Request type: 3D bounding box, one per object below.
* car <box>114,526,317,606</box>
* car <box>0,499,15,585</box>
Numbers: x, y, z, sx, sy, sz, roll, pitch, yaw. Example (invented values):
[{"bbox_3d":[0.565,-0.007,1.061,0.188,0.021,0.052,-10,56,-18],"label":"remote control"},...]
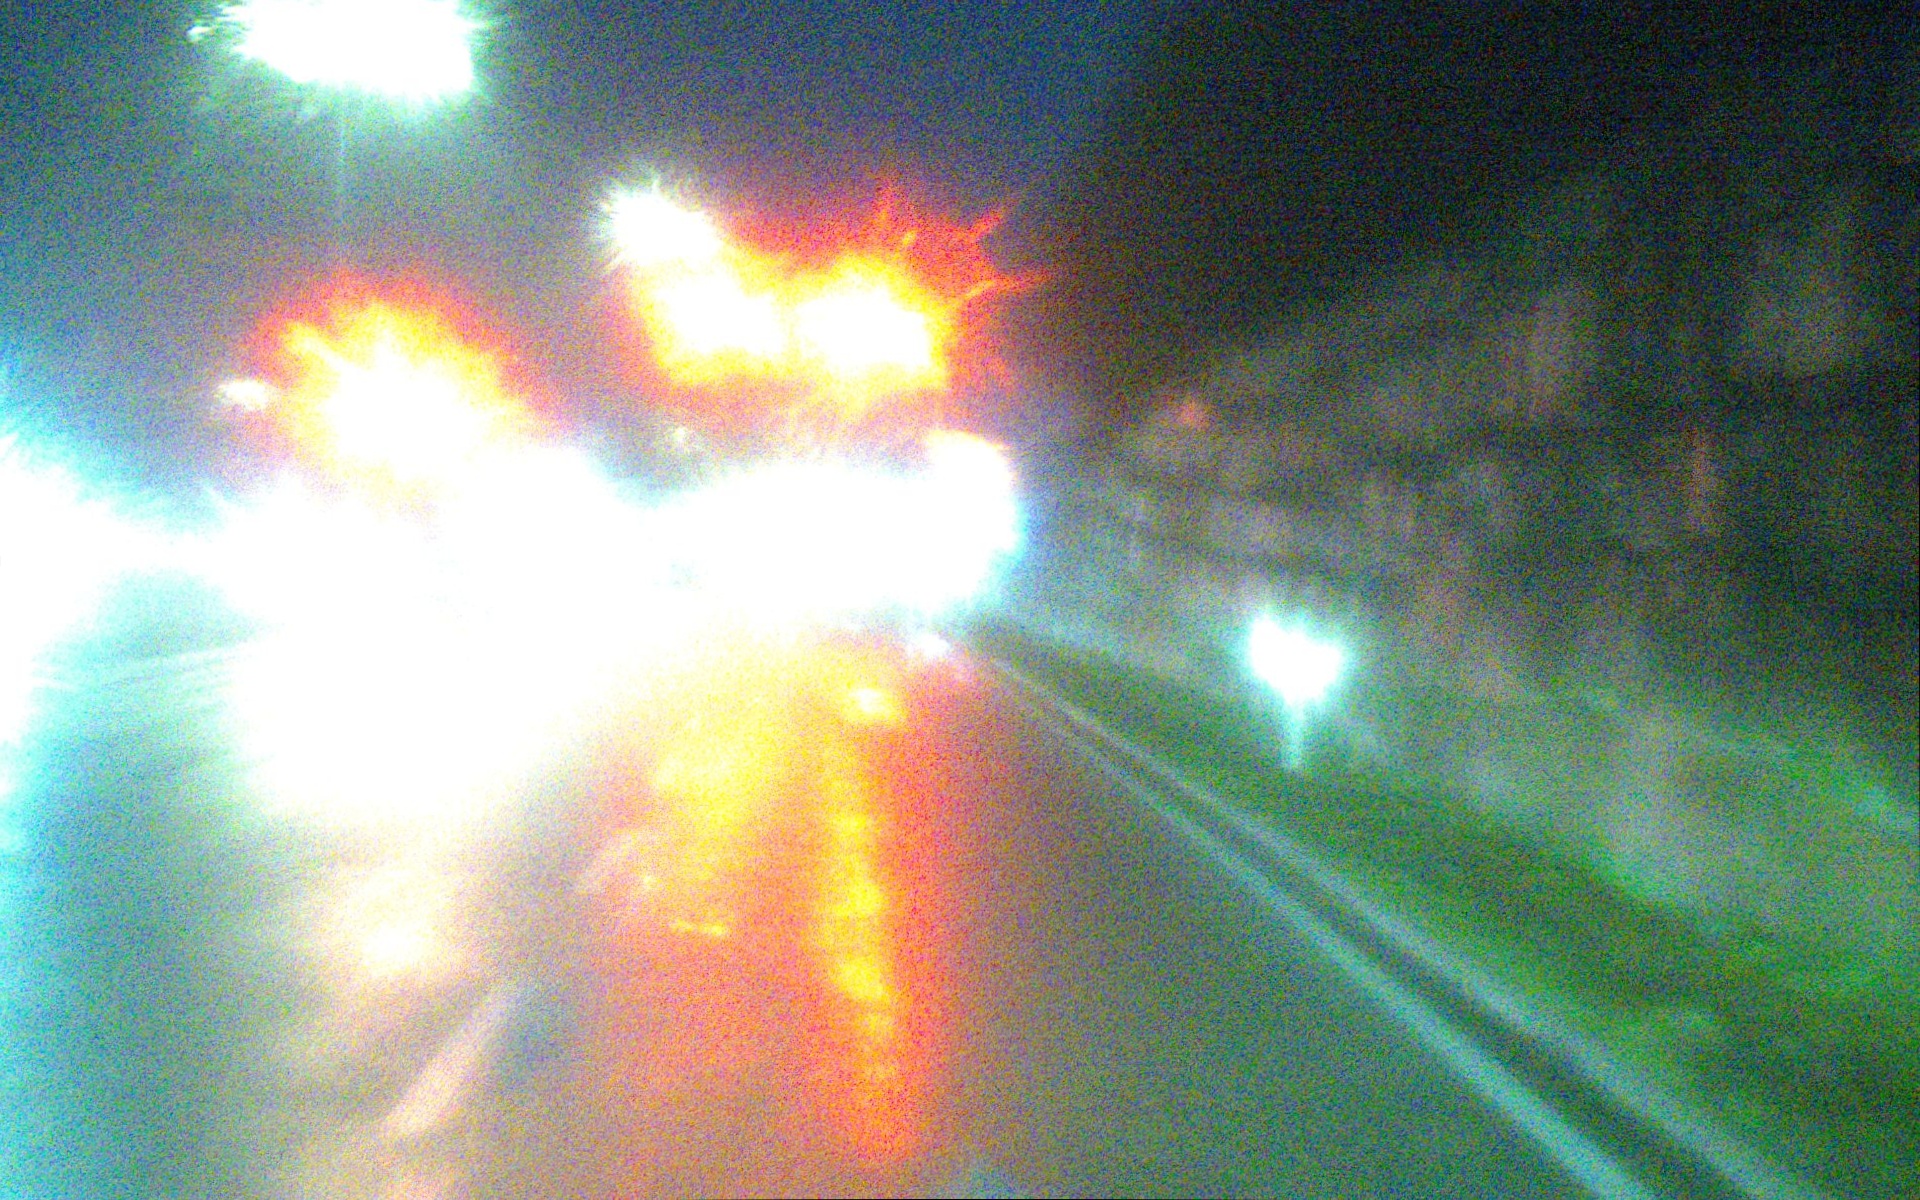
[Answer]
[{"bbox_3d":[-16.596,-0.766,76.743,3.987,1.656,2.000,1,1,5],"label":"car"},{"bbox_3d":[-17.660,-1.018,58.877,1.993,1.502,4.557,1,1,-5],"label":"car"}]
